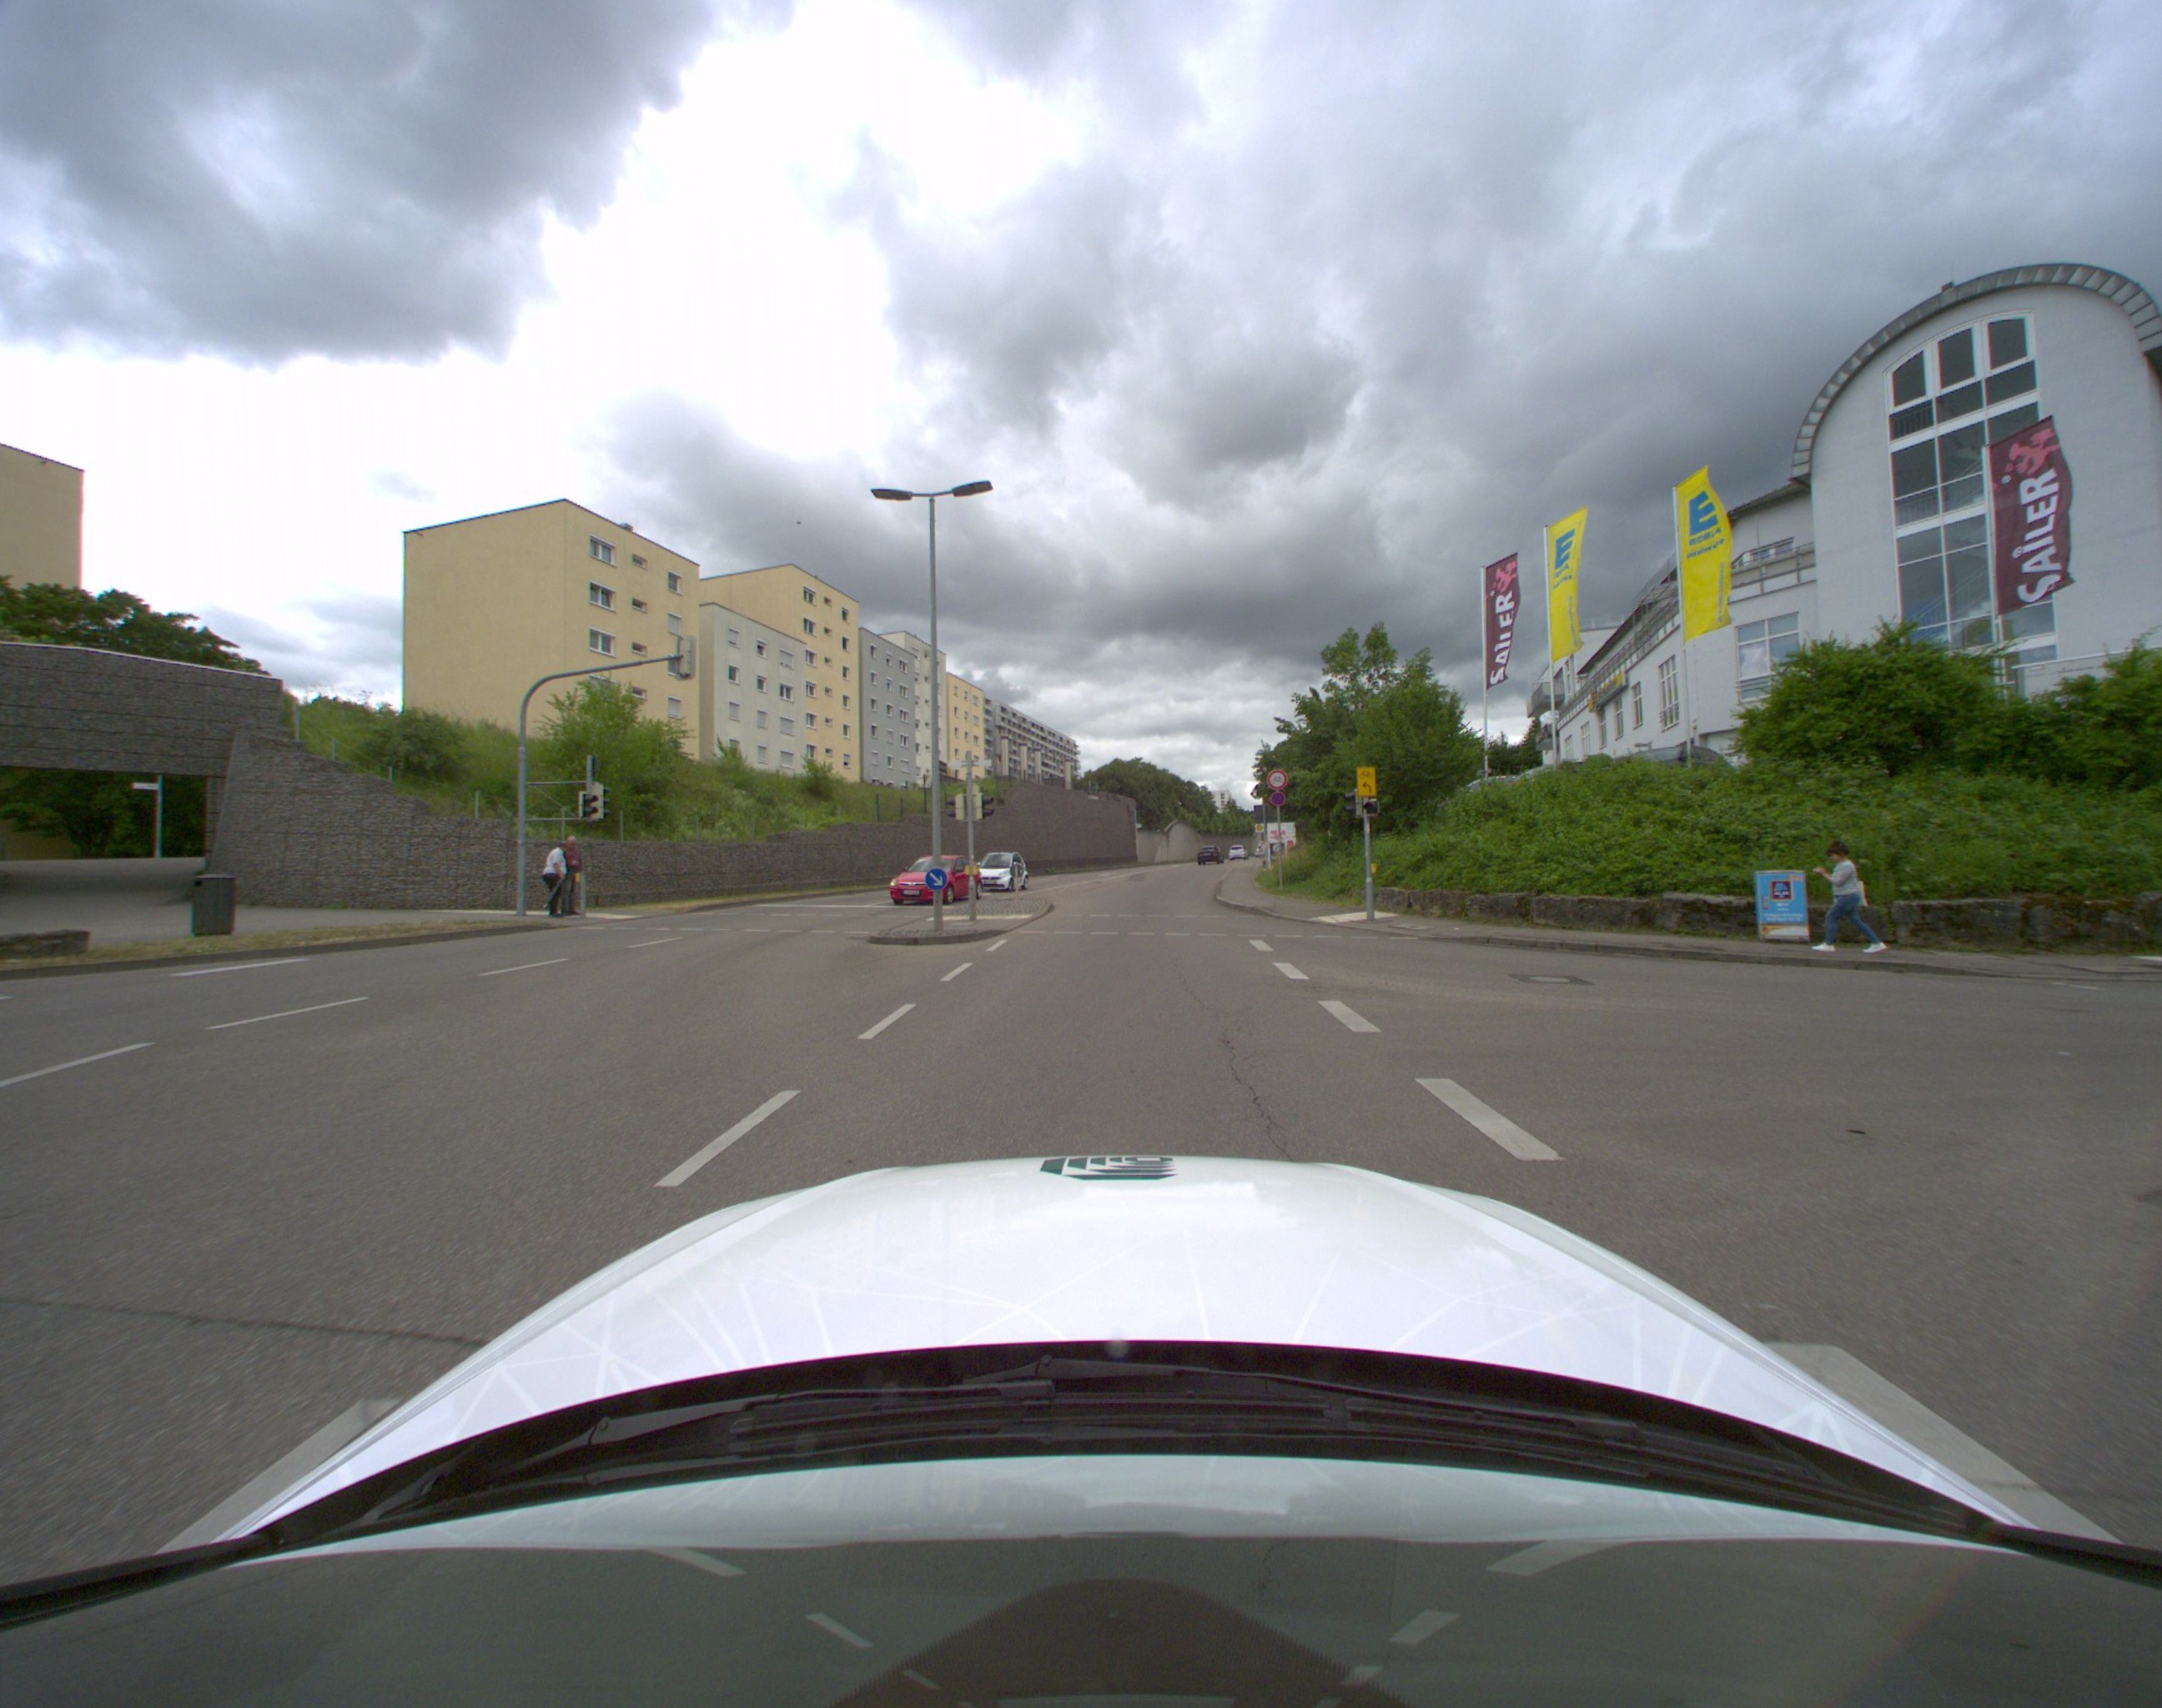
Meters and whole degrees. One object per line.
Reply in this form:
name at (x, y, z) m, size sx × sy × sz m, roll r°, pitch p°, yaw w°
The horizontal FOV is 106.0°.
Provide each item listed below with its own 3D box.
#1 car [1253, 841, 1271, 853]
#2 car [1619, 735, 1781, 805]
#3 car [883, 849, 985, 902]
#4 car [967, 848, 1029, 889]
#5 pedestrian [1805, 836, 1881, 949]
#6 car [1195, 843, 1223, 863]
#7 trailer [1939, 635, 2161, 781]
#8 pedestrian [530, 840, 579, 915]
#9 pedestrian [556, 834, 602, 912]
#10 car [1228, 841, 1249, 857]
car at (24.399, -0.927, 109.538) m, size 1.851 × 1.490 × 4.277 m, roll -1°, pitch 0°, yaw 19°
car at (17.955, -2.357, 23.600) m, size 4.518 × 1.638 × 1.816 m, roll 0°, pitch -1°, yaw -25°
car at (-4.479, 0.644, 25.514) m, size 1.743 × 1.523 × 4.105 m, roll 0°, pitch -1°, yaw 11°
car at (-3.200, 0.538, 31.940) m, size 1.532 × 1.523 × 2.925 m, roll 0°, pitch 1°, yaw 13°
pedestrian at (11.215, 0.550, 12.003) m, size 0.617 × 1.608 × 0.583 m, roll 0°, pitch -1°, yaw 19°
car at (10.435, -0.036, 66.338) m, size 1.741 × 1.523 × 4.053 m, roll 0°, pitch -1°, yaw 16°
trailer at (26.758, -3.728, 20.699) m, size 2.479 × 3.055 × 6.427 m, roll 1°, pitch -1°, yaw -32°
pedestrian at (-12.018, 0.540, 18.600) m, size 0.618 × 1.679 × 0.668 m, roll 0°, pitch -1°, yaw 12°
pedestrian at (-11.896, 0.446, 19.300) m, size 0.618 × 1.827 × 0.667 m, roll 0°, pitch -1°, yaw 10°
car at (16.058, -0.500, 82.943) m, size 1.741 × 1.523 × 4.053 m, roll 0°, pitch -1°, yaw 15°
